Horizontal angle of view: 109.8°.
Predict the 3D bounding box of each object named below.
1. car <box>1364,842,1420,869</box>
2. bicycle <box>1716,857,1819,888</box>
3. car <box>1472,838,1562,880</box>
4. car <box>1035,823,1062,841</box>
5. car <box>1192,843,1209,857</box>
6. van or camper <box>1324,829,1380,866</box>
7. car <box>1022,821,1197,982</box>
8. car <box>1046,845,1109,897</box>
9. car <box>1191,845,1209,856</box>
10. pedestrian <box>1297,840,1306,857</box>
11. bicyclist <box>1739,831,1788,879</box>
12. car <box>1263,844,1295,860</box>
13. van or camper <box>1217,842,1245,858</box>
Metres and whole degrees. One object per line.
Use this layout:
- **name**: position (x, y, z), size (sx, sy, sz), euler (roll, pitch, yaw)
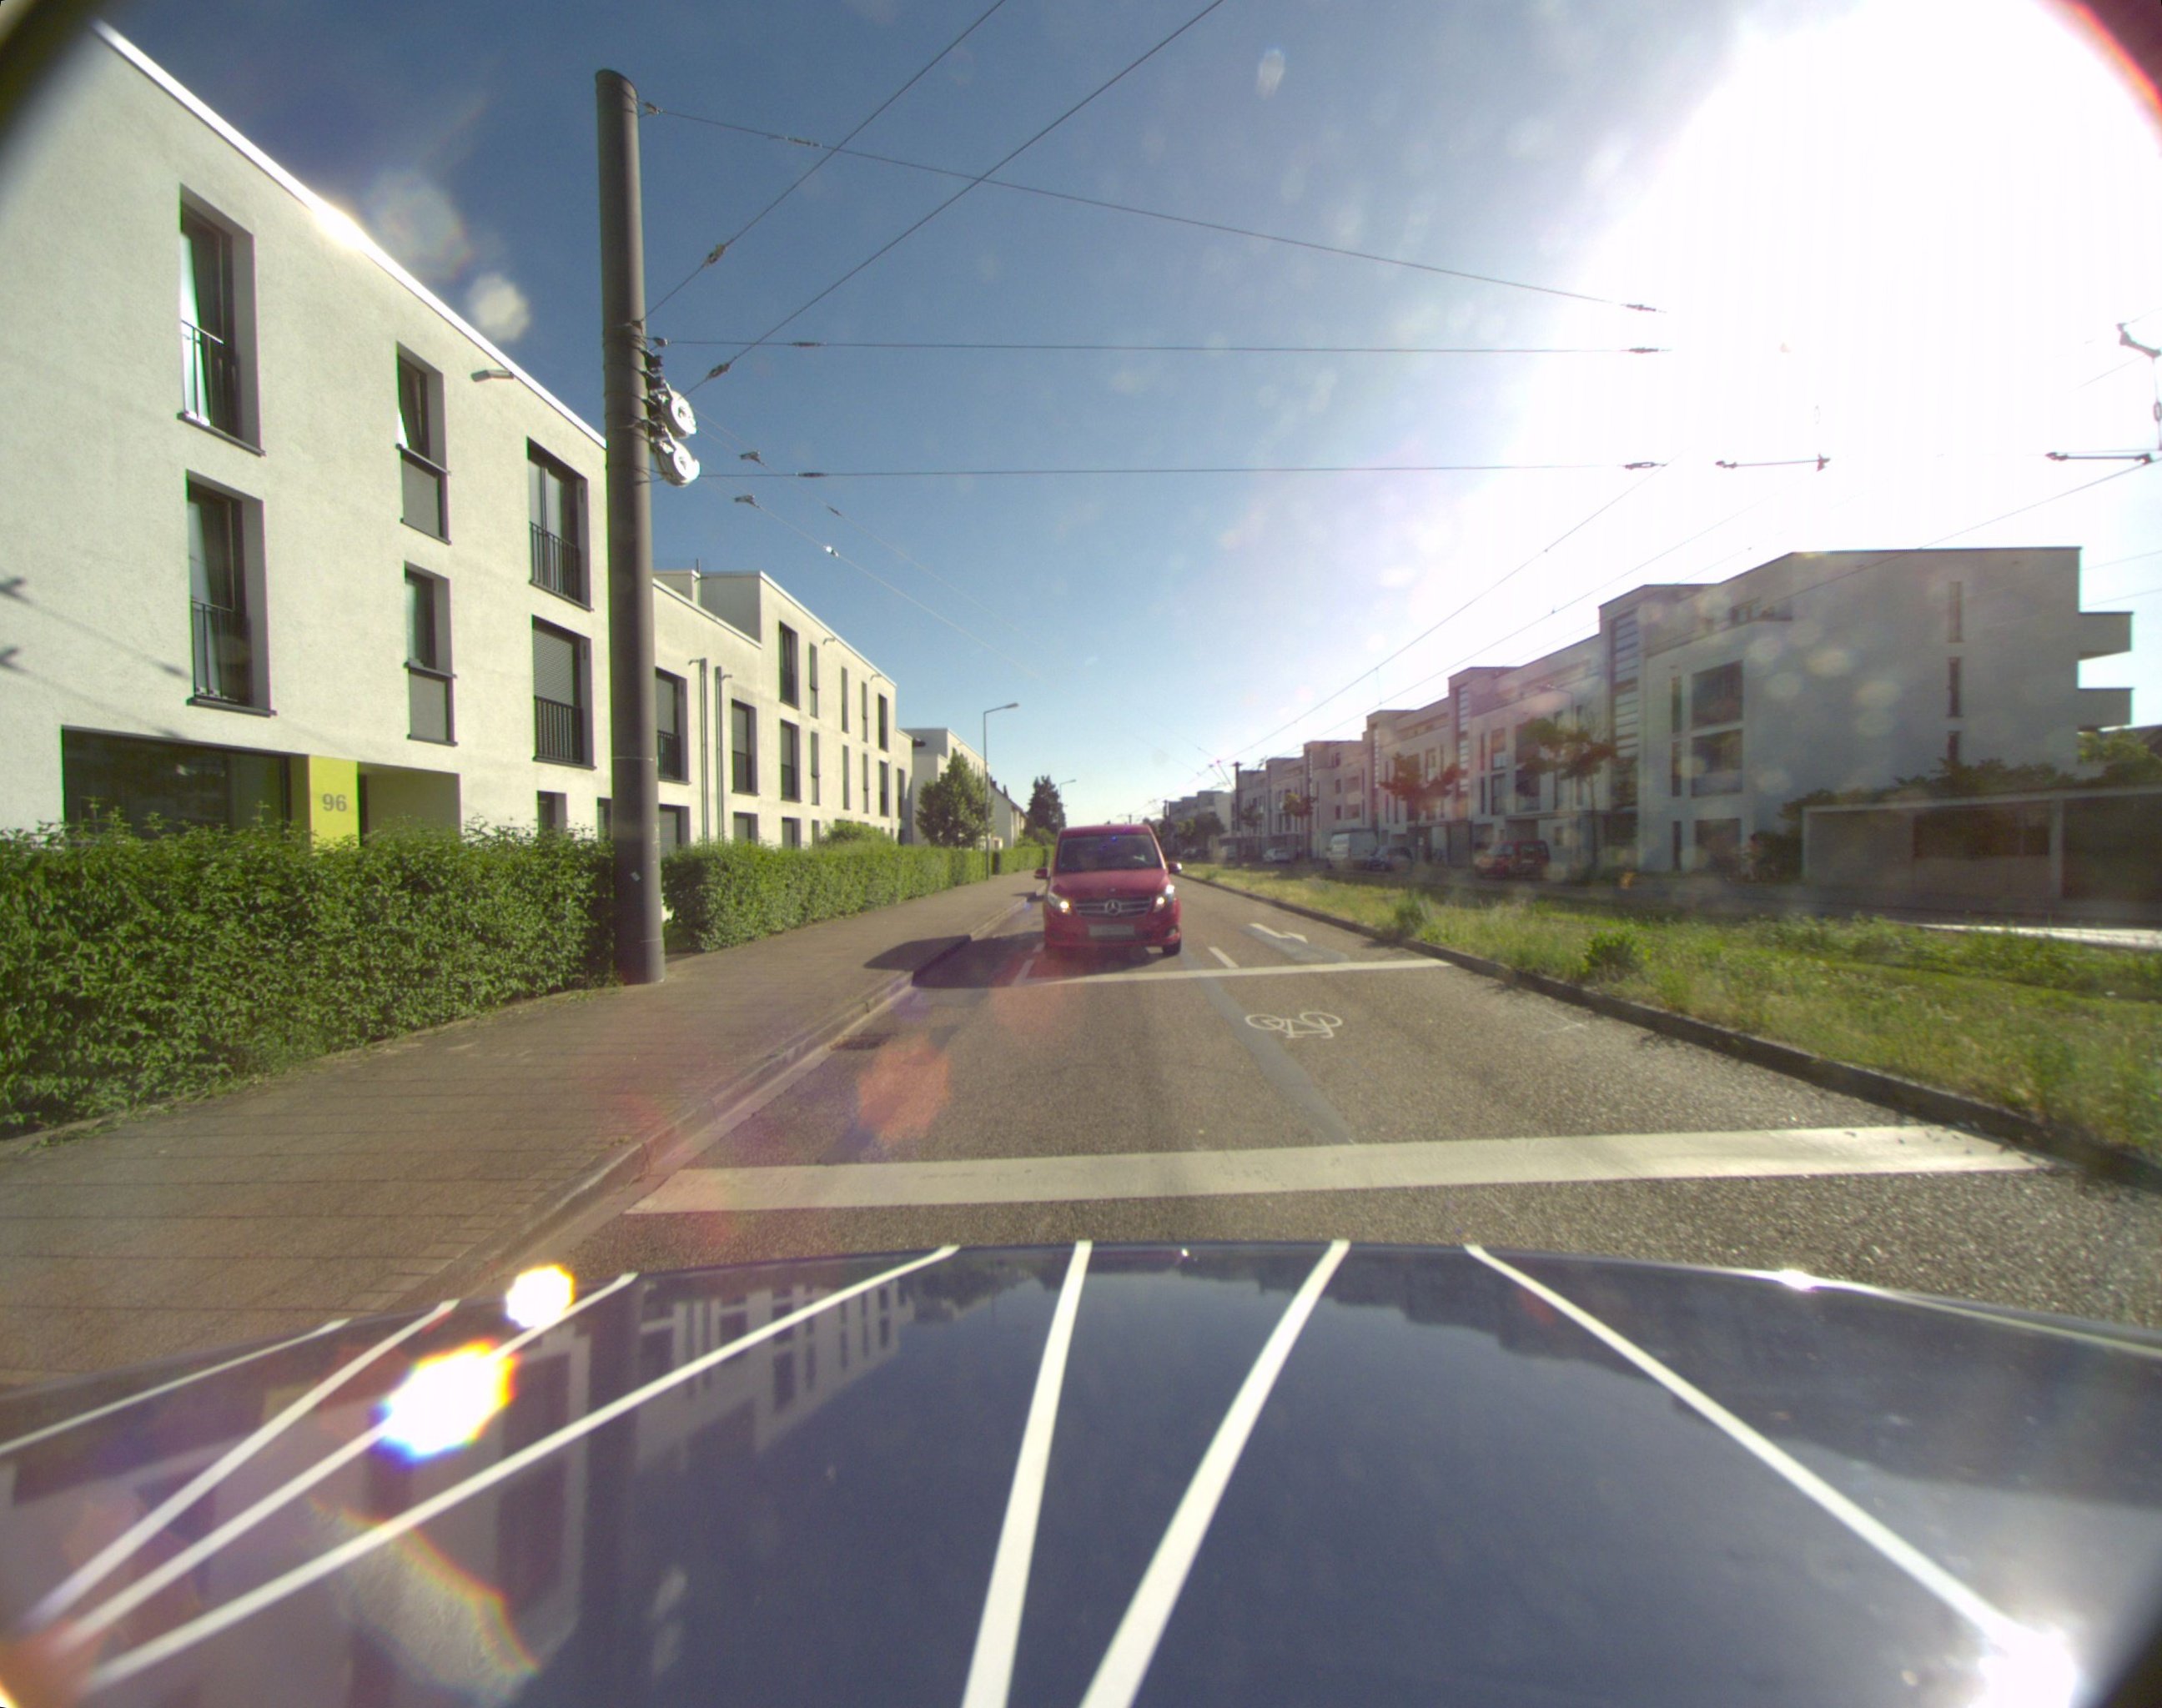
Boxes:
- **car**: position (19.171, 0.074, 47.028), size (1.934, 1.604, 3.836), euler (0, 1, 1)
- **bicycle**: position (21.568, 0.560, 23.958), size (0.902, 0.887, 2.482), euler (0, 1, -4)
- **car**: position (19.037, 0.162, 33.390), size (1.793, 1.713, 3.908), euler (1, 1, 2)
- **car**: position (-4.608, -3.192, 109.599), size (3.182, 2.333, 6.175), euler (-3, 1, 3)
- **car**: position (18.025, -0.552, 114.634), size (1.787, 2.002, 3.998), euler (-3, 1, -2)
- **van or camper**: position (19.113, -0.485, 53.861), size (2.197, 2.451, 5.259), euler (0, 1, 1)
- **car**: position (0.455, 0.587, 12.174), size (2.127, 1.958, 5.084), euler (-3, 0, 2)
- **car**: position (-0.227, 0.539, 28.127), size (1.999, 1.663, 4.405), euler (-2, 1, -4)
- **car**: position (16.721, -0.492, 107.052), size (1.867, 1.430, 3.495), euler (-3, 2, -3)
- **pedestrian**: position (21.629, -0.492, 74.489), size (0.619, 1.634, 0.612), euler (-3, 1, -5)
- **bicyclist**: position (21.562, 0.030, 24.019), size (0.891, 1.482, 0.745), euler (0, 1, -4)
- **car**: position (19.367, -0.210, 74.446), size (2.046, 1.577, 4.120), euler (0, 1, -1)
- **van or camper**: position (18.928, -0.528, 95.954), size (2.272, 1.838, 6.285), euler (-1, 1, 0)
